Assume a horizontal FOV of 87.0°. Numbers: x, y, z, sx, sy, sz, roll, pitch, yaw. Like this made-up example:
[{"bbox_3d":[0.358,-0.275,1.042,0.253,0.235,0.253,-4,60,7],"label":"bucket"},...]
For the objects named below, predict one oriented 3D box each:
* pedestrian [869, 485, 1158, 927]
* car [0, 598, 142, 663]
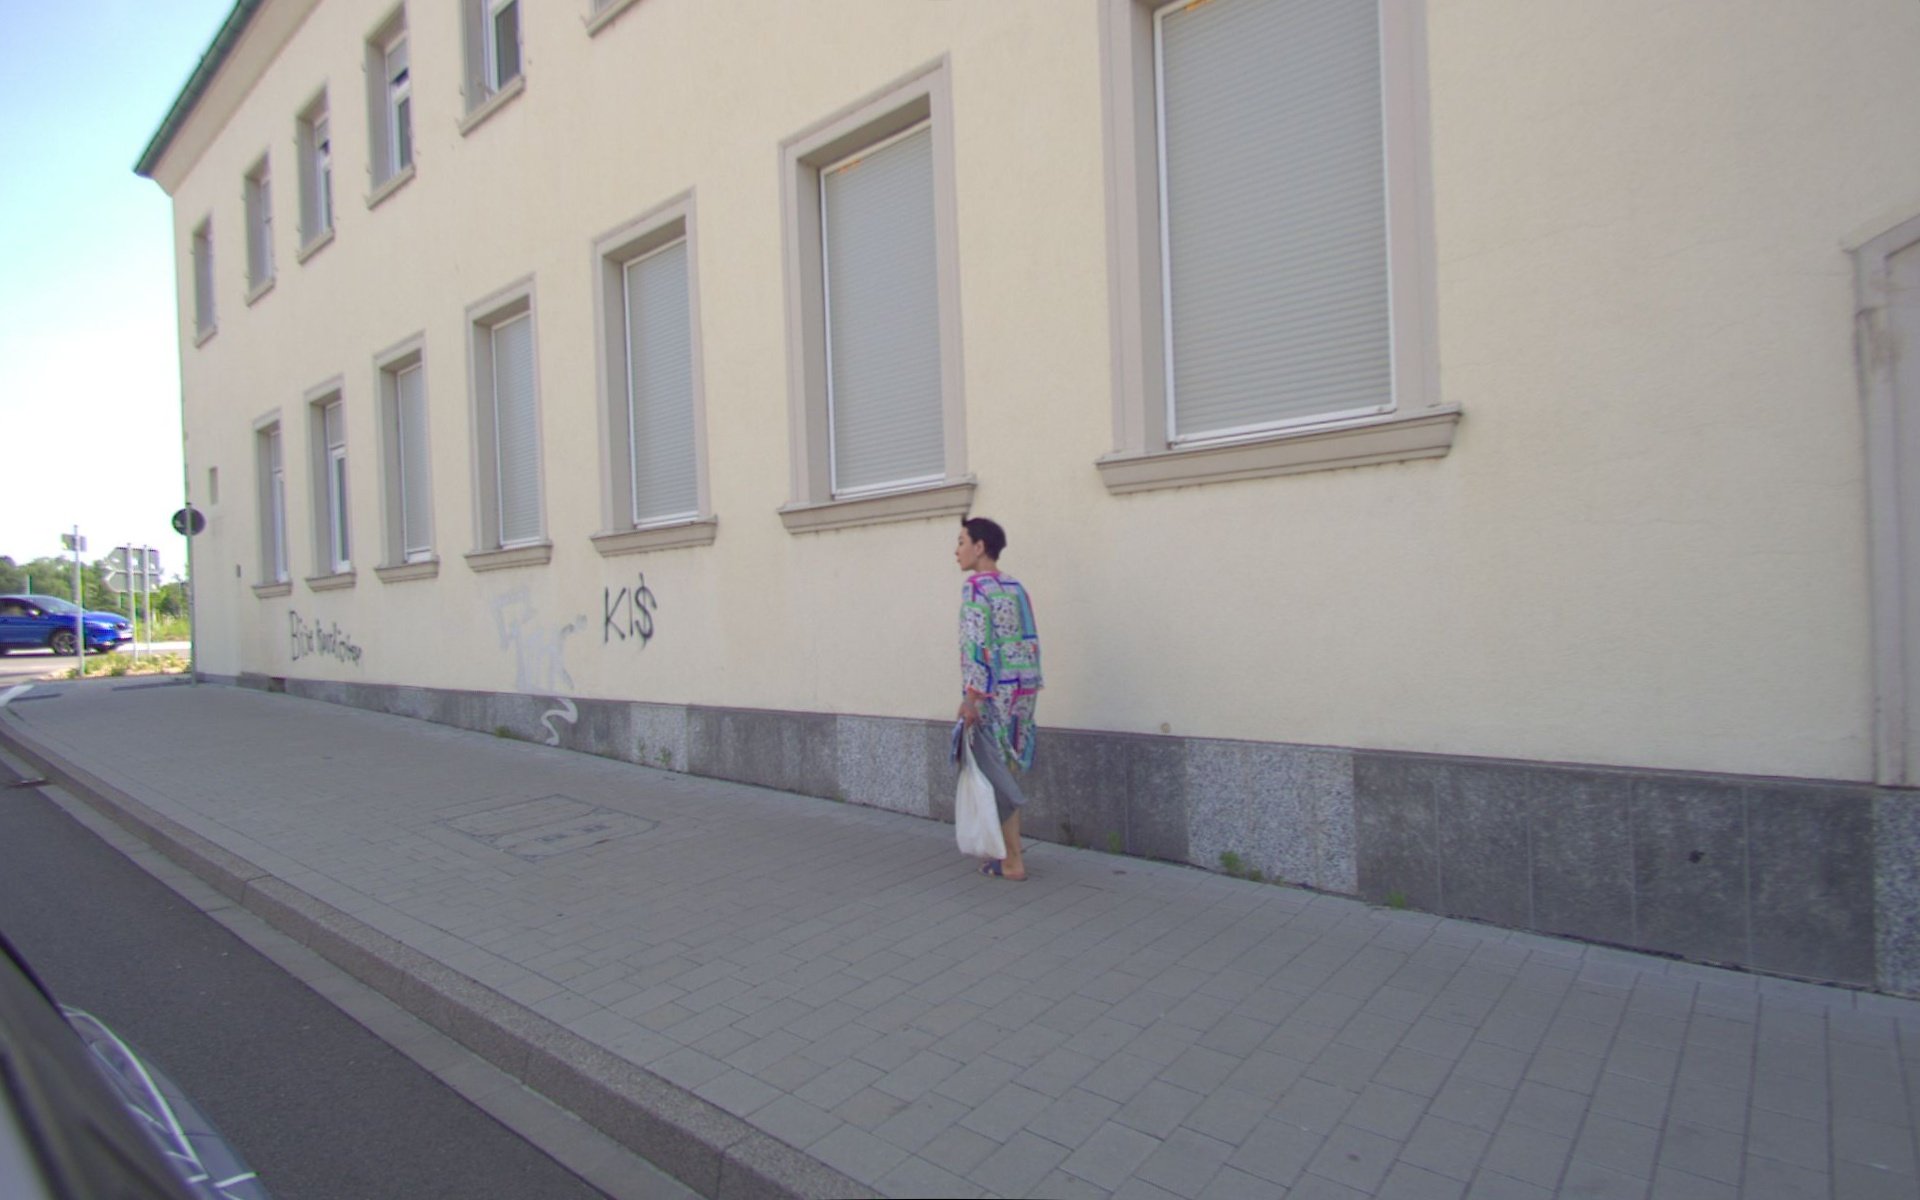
[{"bbox_3d":[0.248,0.384,4.361,0.757,1.643,0.948,-2,1,41],"label":"pedestrian"},{"bbox_3d":[-24.779,0.792,26.980,4.283,1.675,1.891,0,0,-9],"label":"car"}]
